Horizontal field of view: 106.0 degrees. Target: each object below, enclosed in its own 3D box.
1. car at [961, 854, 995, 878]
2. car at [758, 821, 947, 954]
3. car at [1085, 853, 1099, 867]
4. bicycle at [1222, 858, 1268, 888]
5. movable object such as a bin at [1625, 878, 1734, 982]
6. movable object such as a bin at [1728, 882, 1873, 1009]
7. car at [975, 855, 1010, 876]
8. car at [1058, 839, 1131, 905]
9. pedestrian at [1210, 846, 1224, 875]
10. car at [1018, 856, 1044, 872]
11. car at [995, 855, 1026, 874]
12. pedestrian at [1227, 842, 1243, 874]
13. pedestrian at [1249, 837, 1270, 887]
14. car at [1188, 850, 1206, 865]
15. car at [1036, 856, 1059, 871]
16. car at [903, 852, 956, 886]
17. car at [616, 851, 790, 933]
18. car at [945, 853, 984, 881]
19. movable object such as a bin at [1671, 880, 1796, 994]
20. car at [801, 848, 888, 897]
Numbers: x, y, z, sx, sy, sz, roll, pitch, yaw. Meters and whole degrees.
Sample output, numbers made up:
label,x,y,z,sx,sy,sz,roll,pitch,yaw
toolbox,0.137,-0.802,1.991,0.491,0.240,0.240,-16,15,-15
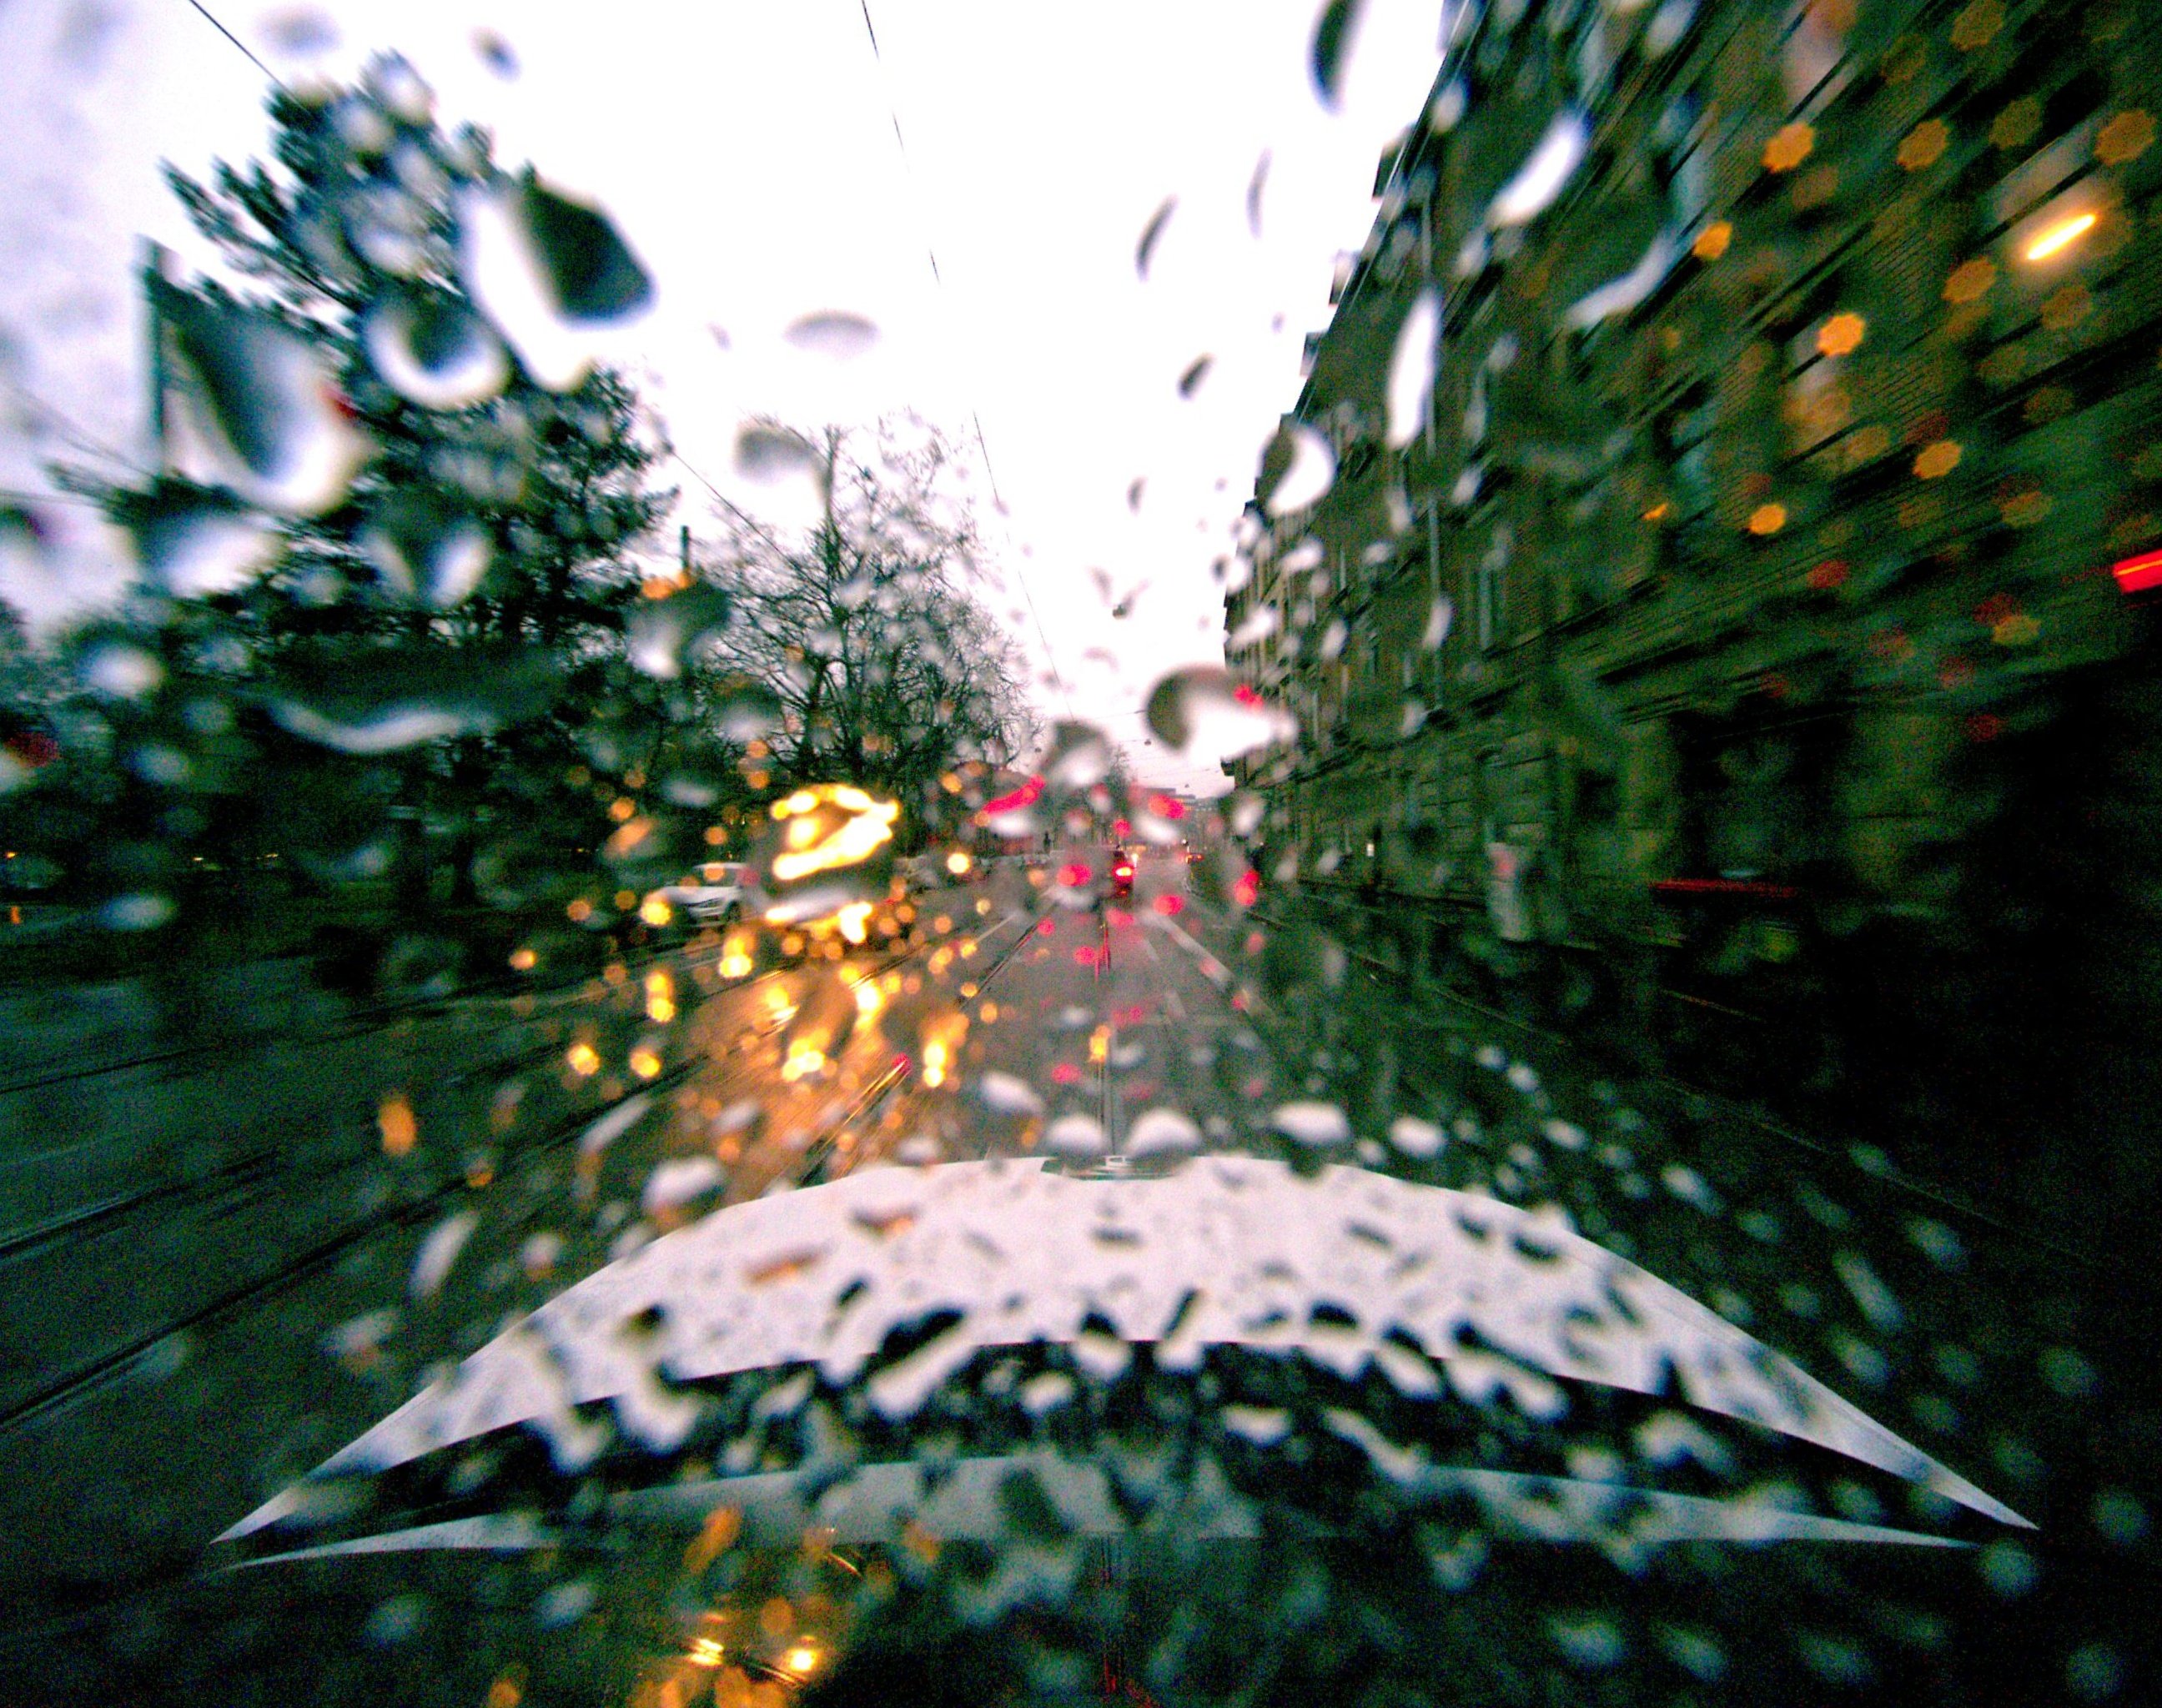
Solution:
label,x,y,z,sx,sy,sz,roll,pitch,yaw
car,-7.077,0.826,56.310,1.979,1.615,4.425,0,0,-3
car,-3.816,0.528,14.423,1.985,2.014,4.004,0,0,4
car,1.574,0.858,119.522,1.986,2.014,4.001,0,0,2
bicycle,6.405,0.729,31.935,0.795,1.144,2.230,0,-1,-17
movable object such as a bin,6.444,0.795,8.802,0.638,1.055,0.744,0,-1,1
movable object such as a bin,6.392,0.784,7.271,0.638,1.055,0.744,0,-1,1
car,-7.047,0.889,65.159,1.975,1.615,4.434,0,0,5
car,0.507,0.505,24.941,1.984,1.842,4.005,-1,0,4
pedestrian,8.273,0.380,49.507,0.769,1.775,0.685,0,-1,1
car,-5.050,1.006,82.491,1.974,1.615,4.435,0,0,5
car,-6.127,0.931,71.376,1.974,1.615,4.435,0,0,5
pedestrian,8.485,0.232,44.830,0.769,1.775,0.685,0,-1,1
pedestrian,7.045,0.313,32.134,0.713,1.953,0.657,0,-1,2
car,14.631,0.439,103.067,1.984,1.842,4.005,-1,0,4
car,-3.712,1.061,90.895,1.975,1.615,4.434,0,0,4
car,-7.436,0.714,40.366,1.979,1.615,4.425,0,0,-3
car,-8.252,0.761,18.299,1.979,1.615,4.425,0,0,-3
car,-7.208,0.786,50.657,1.979,1.615,4.425,0,0,-3
movable object such as a bin,6.414,0.790,8.039,0.638,1.055,0.744,0,-1,1
car,-8.330,0.636,29.066,1.979,1.615,4.425,0,0,-3
